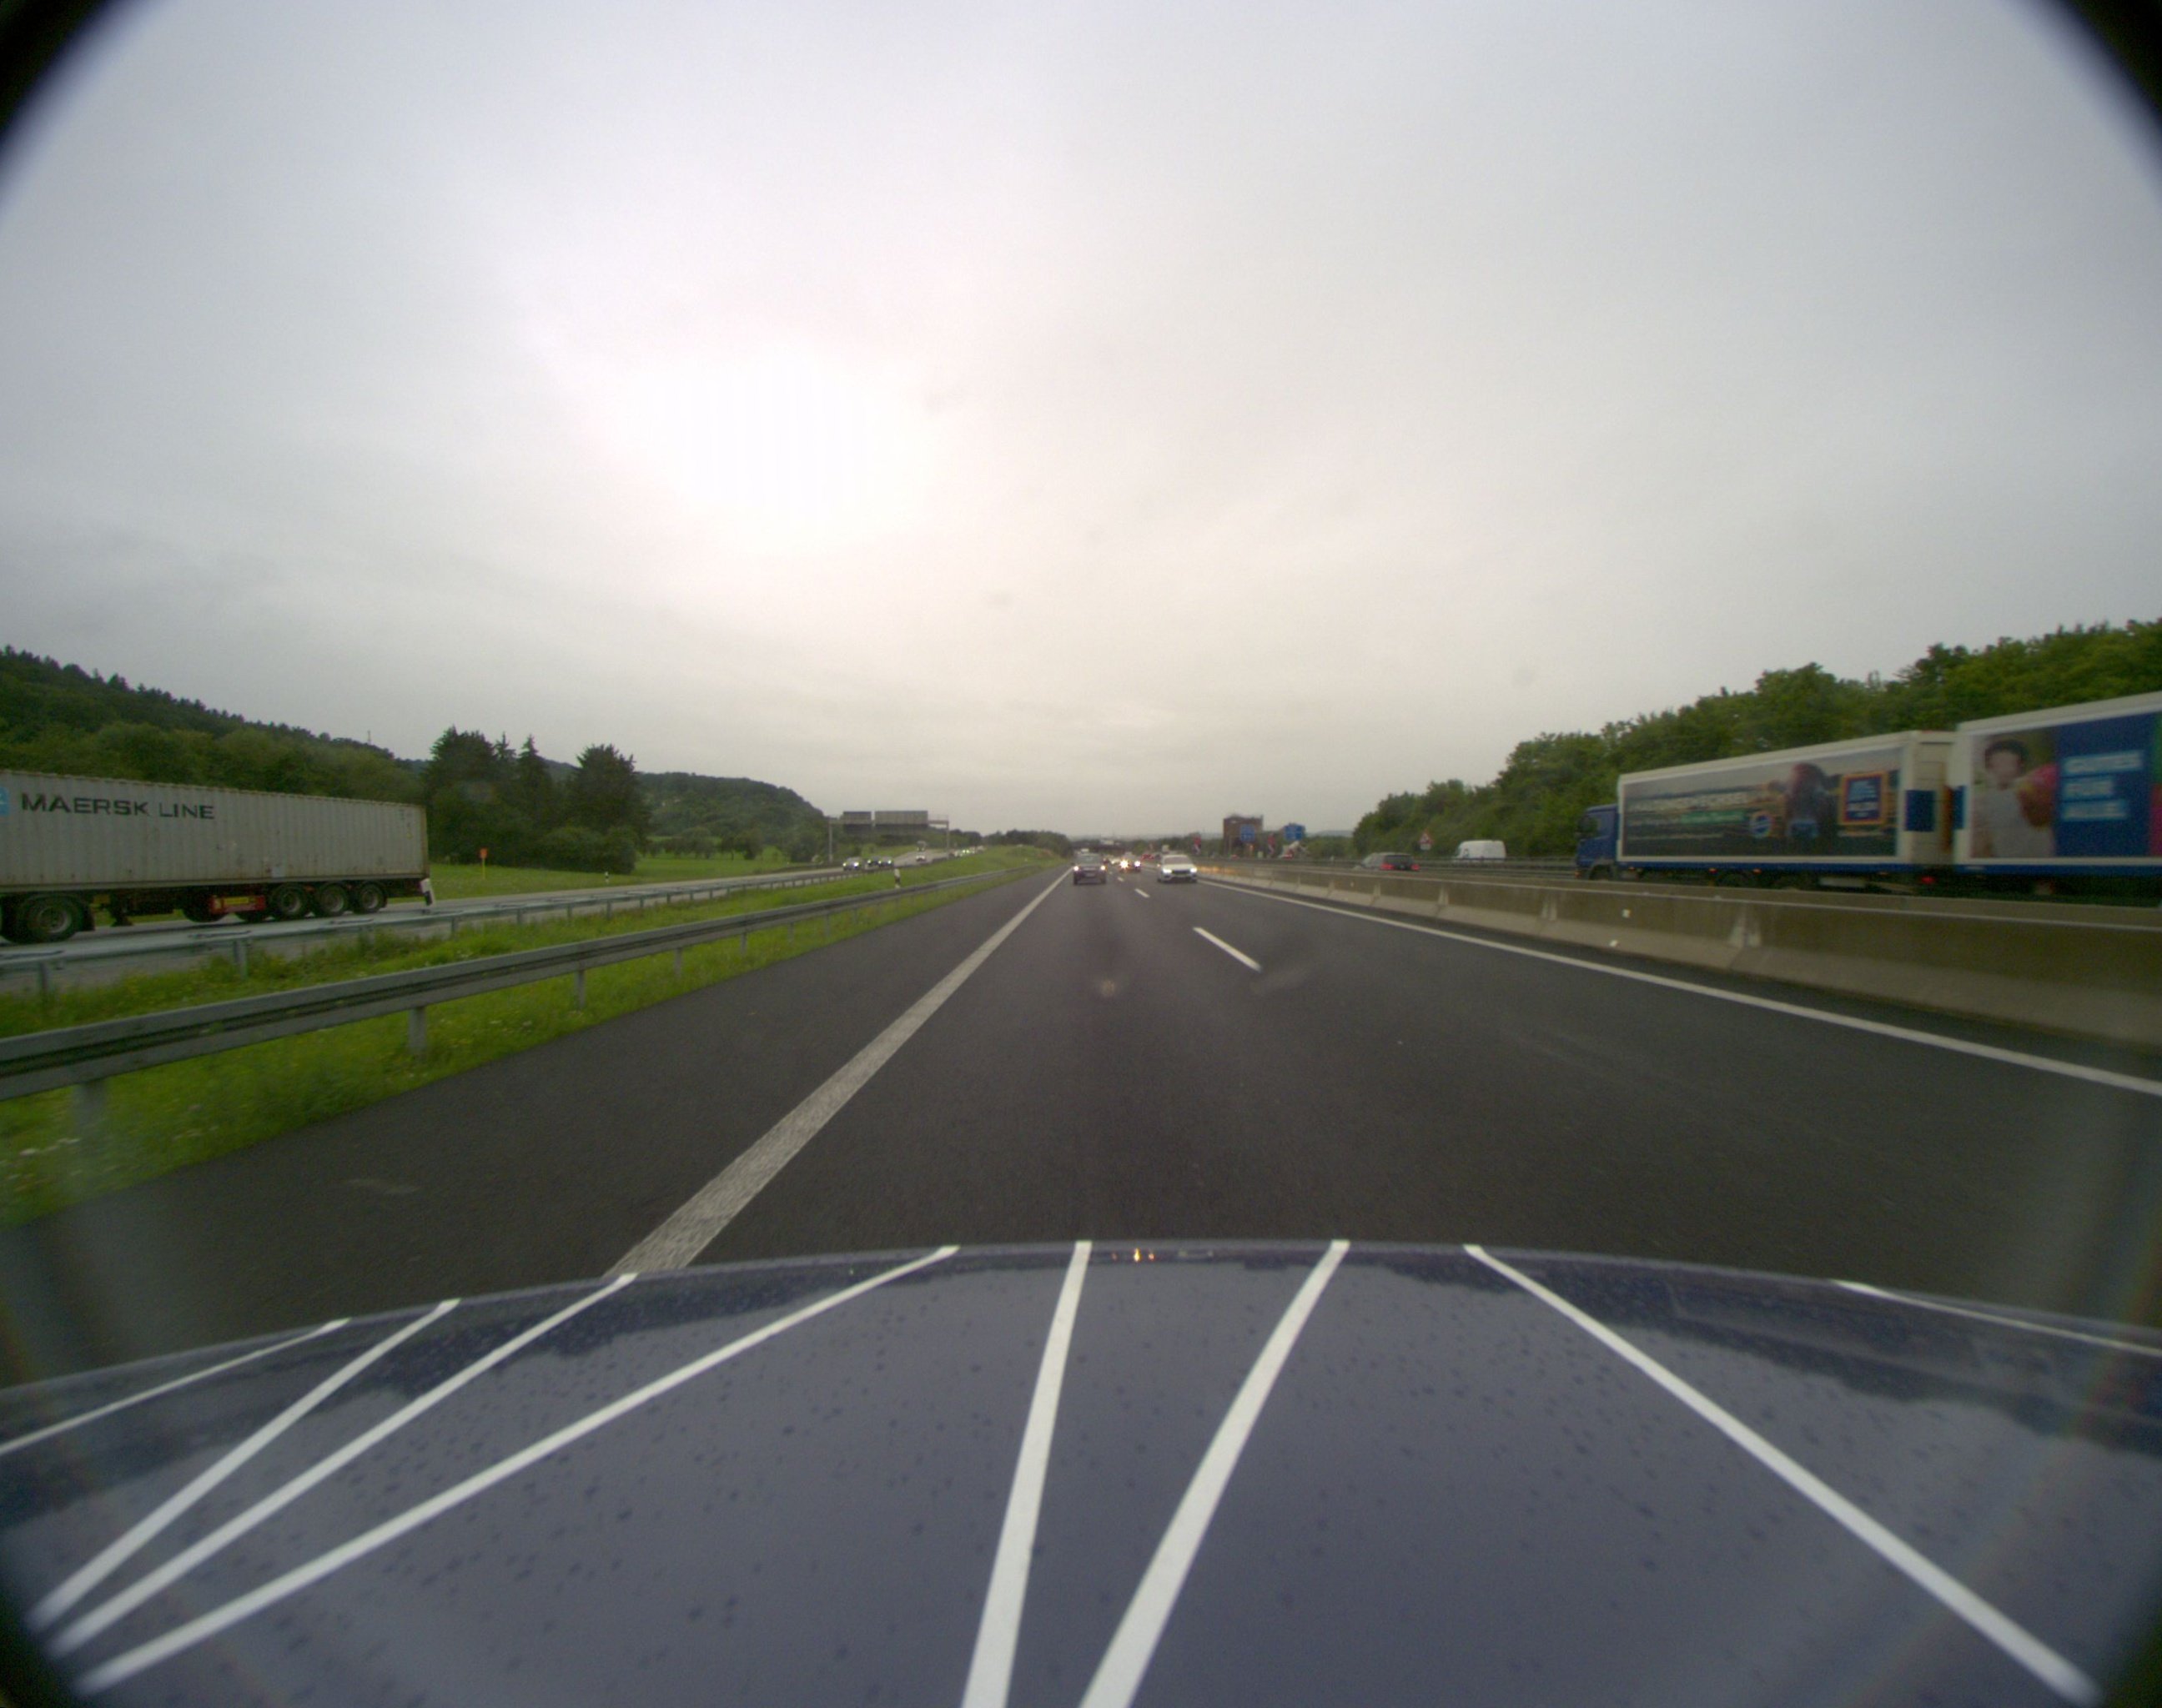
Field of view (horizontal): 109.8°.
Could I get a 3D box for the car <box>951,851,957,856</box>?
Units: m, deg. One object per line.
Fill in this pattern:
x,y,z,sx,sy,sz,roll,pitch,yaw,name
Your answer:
-38.050,-0.238,228.111,1.585,1.543,3.997,-3,1,-6,car

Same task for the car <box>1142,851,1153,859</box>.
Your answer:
14.385,0.238,164.587,1.999,1.641,5.026,-3,0,-1,car

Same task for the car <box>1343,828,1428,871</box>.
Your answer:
13.101,-0.189,32.933,1.998,1.608,4.000,-4,0,0,car

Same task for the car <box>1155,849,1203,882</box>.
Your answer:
5.149,0.572,40.534,1.998,1.582,4.816,-1,0,1,car

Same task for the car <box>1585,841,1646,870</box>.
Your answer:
39.355,0.112,56.037,1.754,2.002,4.000,-1,0,1,car

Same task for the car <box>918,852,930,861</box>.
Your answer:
-33.900,0.524,163.949,1.999,2.002,3.998,-1,0,-4,car

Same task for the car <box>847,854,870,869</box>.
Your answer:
-26.668,0.878,91.069,2.000,1.710,4.315,-1,0,-8,car

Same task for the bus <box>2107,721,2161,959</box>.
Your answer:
12.968,-0.172,4.506,2.547,2.571,8.270,-3,1,0,bus

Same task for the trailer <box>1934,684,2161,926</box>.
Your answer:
17.082,-0.751,9.872,2.950,3.496,8.051,-3,1,1,trailer

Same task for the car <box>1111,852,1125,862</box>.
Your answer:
5.706,0.456,118.301,1.942,1.341,4.000,-2,0,1,car

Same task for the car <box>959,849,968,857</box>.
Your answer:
-33.264,-0.261,215.026,1.734,2.002,3.999,-3,1,0,car

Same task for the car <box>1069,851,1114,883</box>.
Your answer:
0.621,0.671,41.179,2.242,1.565,4.817,-2,0,2,car

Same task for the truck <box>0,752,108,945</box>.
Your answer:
-23.303,-0.067,14.260,2.515,3.964,5.925,-3,1,-5,truck

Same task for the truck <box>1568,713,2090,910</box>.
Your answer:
17.217,-0.816,19.328,2.815,3.504,10.640,-3,0,1,truck

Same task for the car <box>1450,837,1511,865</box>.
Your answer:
32.879,-0.262,62.709,1.998,2.200,5.715,-1,0,0,car

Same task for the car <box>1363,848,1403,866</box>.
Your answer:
28.855,0.265,72.800,1.999,1.727,4.582,-1,0,0,car

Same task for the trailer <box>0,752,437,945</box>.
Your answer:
-23.924,-0.094,21.009,2.498,3.961,12.398,-3,1,-5,trailer

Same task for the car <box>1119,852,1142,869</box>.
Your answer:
4.263,0.540,66.164,1.835,1.417,4.368,-1,0,2,car

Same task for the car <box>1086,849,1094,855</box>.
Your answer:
2.158,-0.490,188.599,1.942,1.341,4.000,-3,0,1,car

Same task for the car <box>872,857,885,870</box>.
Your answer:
-32.449,1.484,121.654,1.654,2.002,3.996,-1,0,-9,car

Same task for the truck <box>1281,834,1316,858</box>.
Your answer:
33.602,-1.221,117.683,2.692,3.640,9.556,-1,0,0,truck

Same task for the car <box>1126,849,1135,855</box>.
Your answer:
14.954,-0.565,229.706,2.363,1.683,5.907,-1,0,1,car

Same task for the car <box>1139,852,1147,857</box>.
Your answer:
19.061,0.057,233.681,1.998,1.427,4.679,-3,0,0,car

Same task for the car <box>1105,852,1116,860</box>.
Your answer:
5.953,0.384,154.733,1.998,1.565,4.000,-3,0,1,car

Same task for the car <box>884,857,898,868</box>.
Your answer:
-28.509,1.282,113.954,1.752,1.499,3.996,-3,1,-10,car

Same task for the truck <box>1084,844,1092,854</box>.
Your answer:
2.364,-1.757,259.298,2.728,3.098,7.960,-3,0,1,truck
